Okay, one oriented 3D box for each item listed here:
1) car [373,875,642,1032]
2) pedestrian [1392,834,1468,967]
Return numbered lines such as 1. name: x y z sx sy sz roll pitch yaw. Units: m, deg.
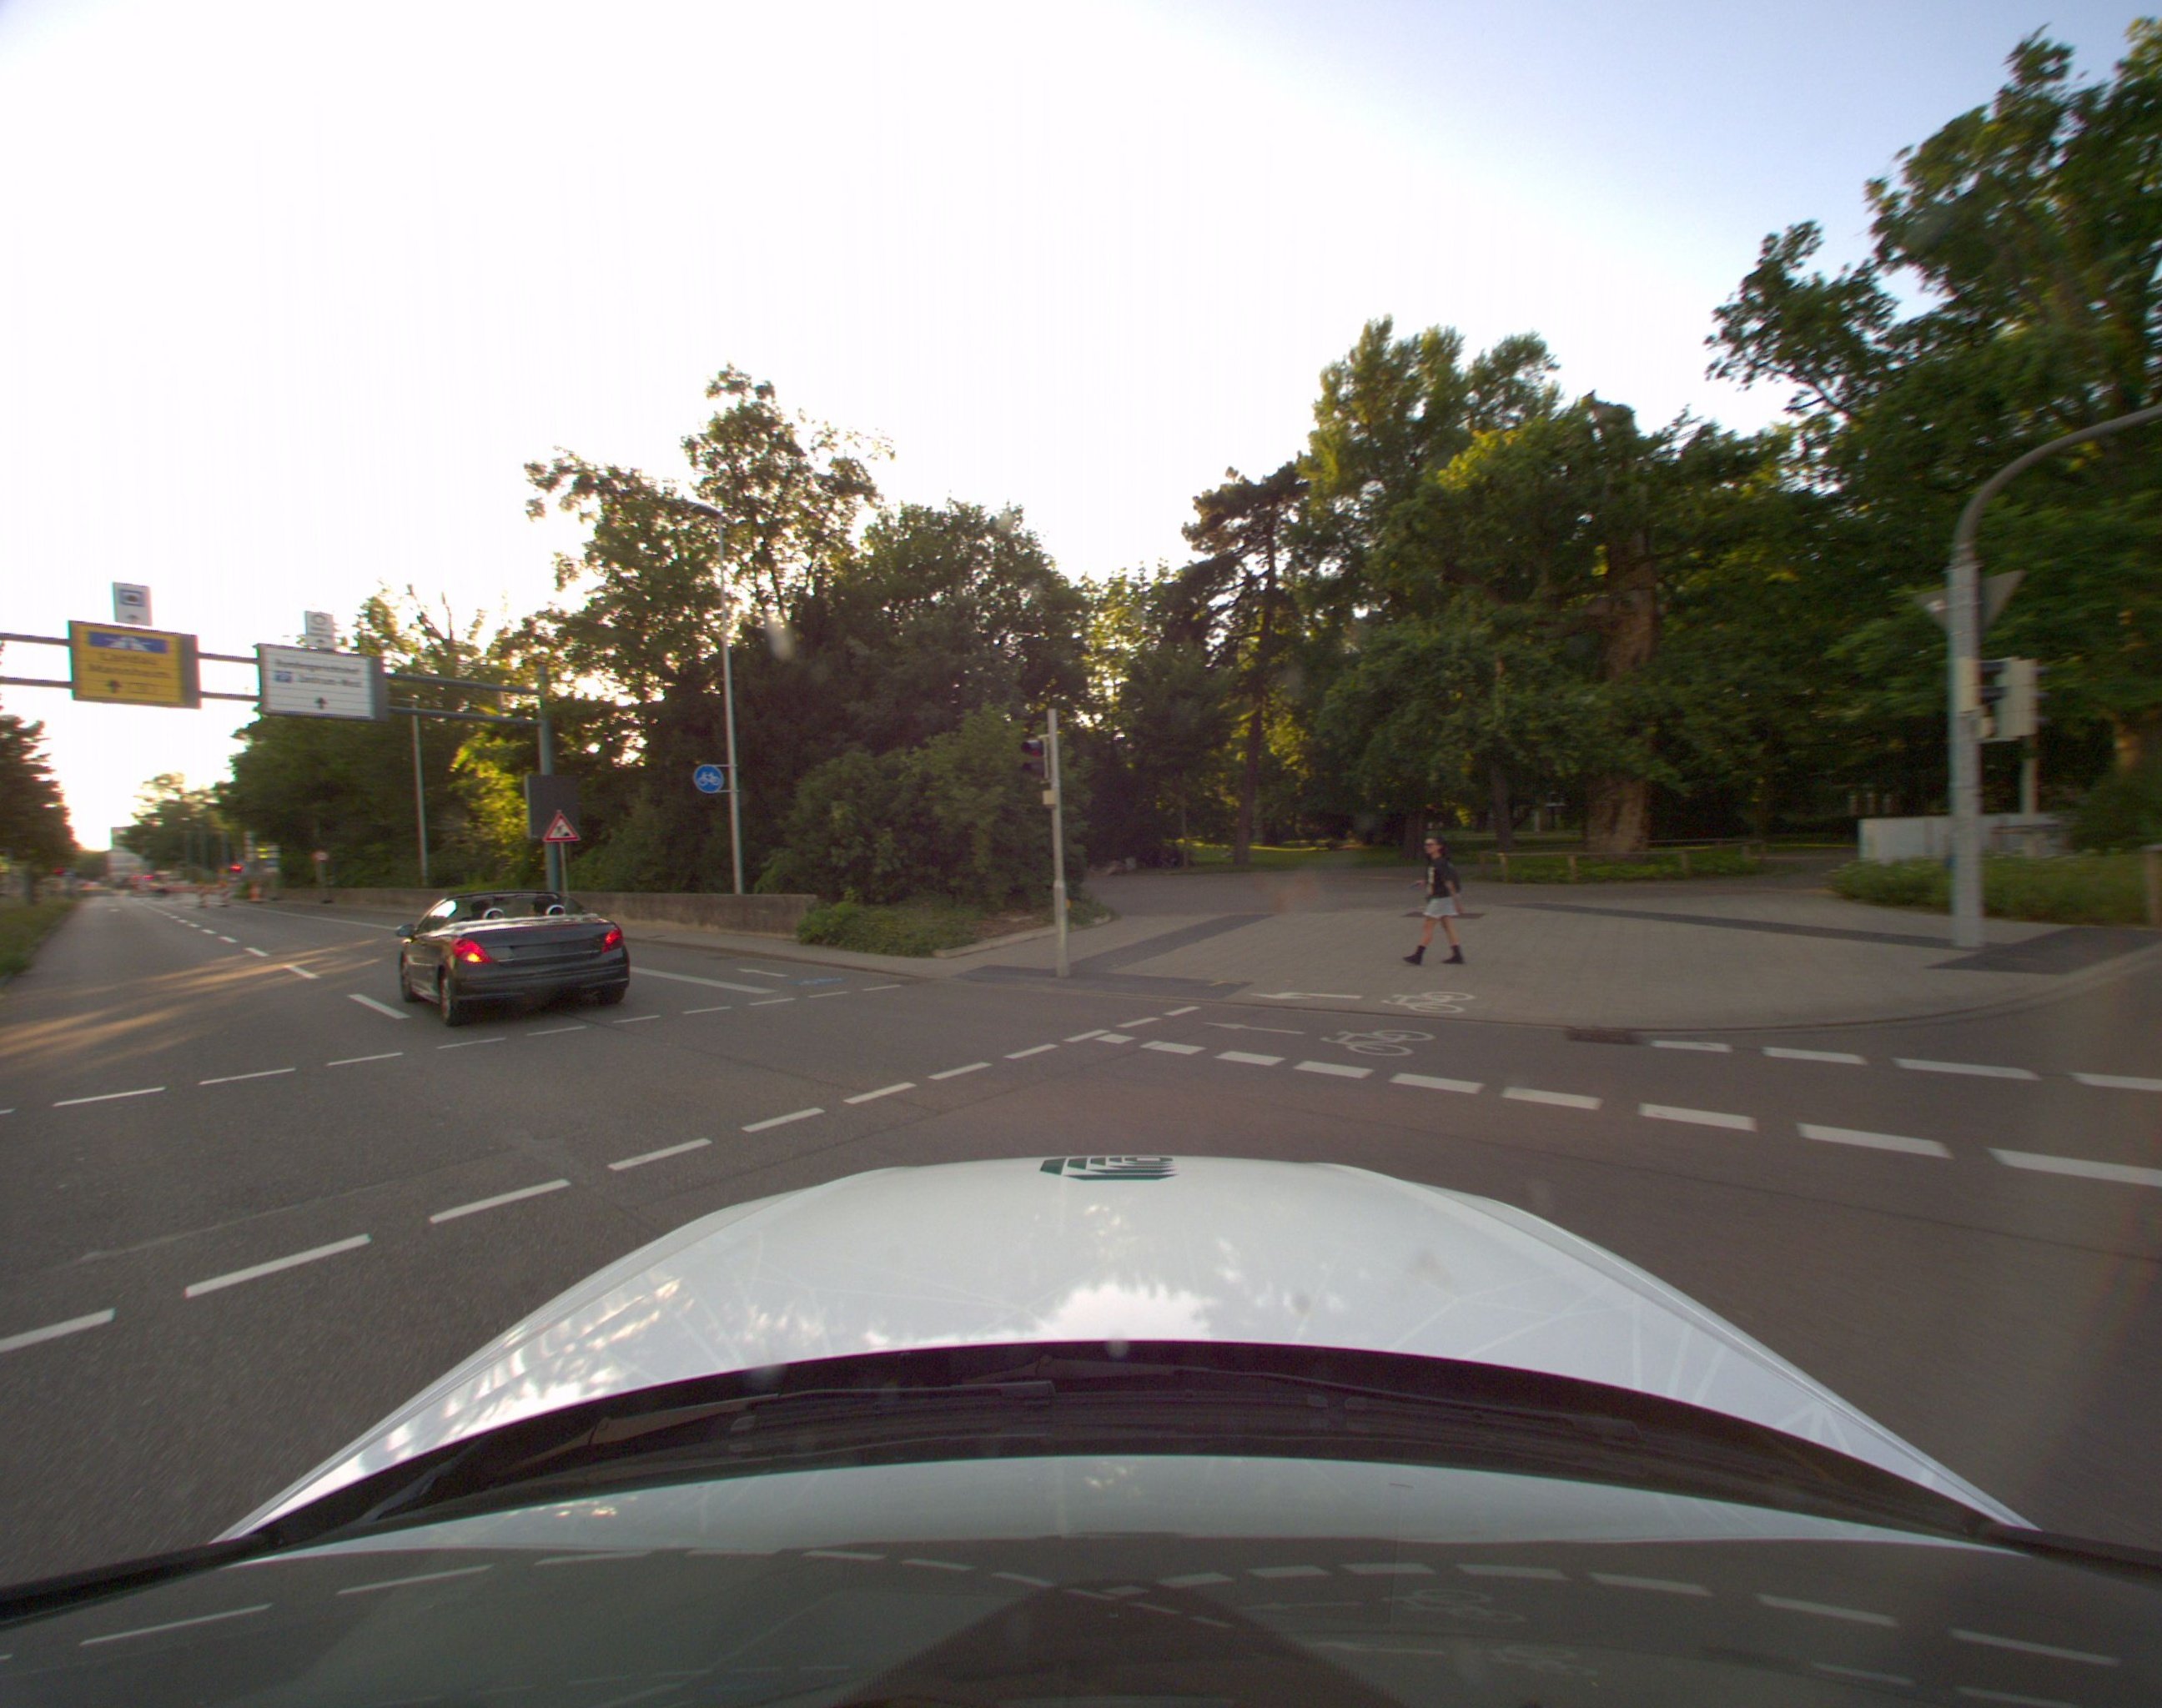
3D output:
1. car: -7.037 1.036 9.845 3.851 1.449 1.735 -2 0 41
2. pedestrian: 4.193 0.535 9.777 0.611 1.503 0.584 -2 3 45
